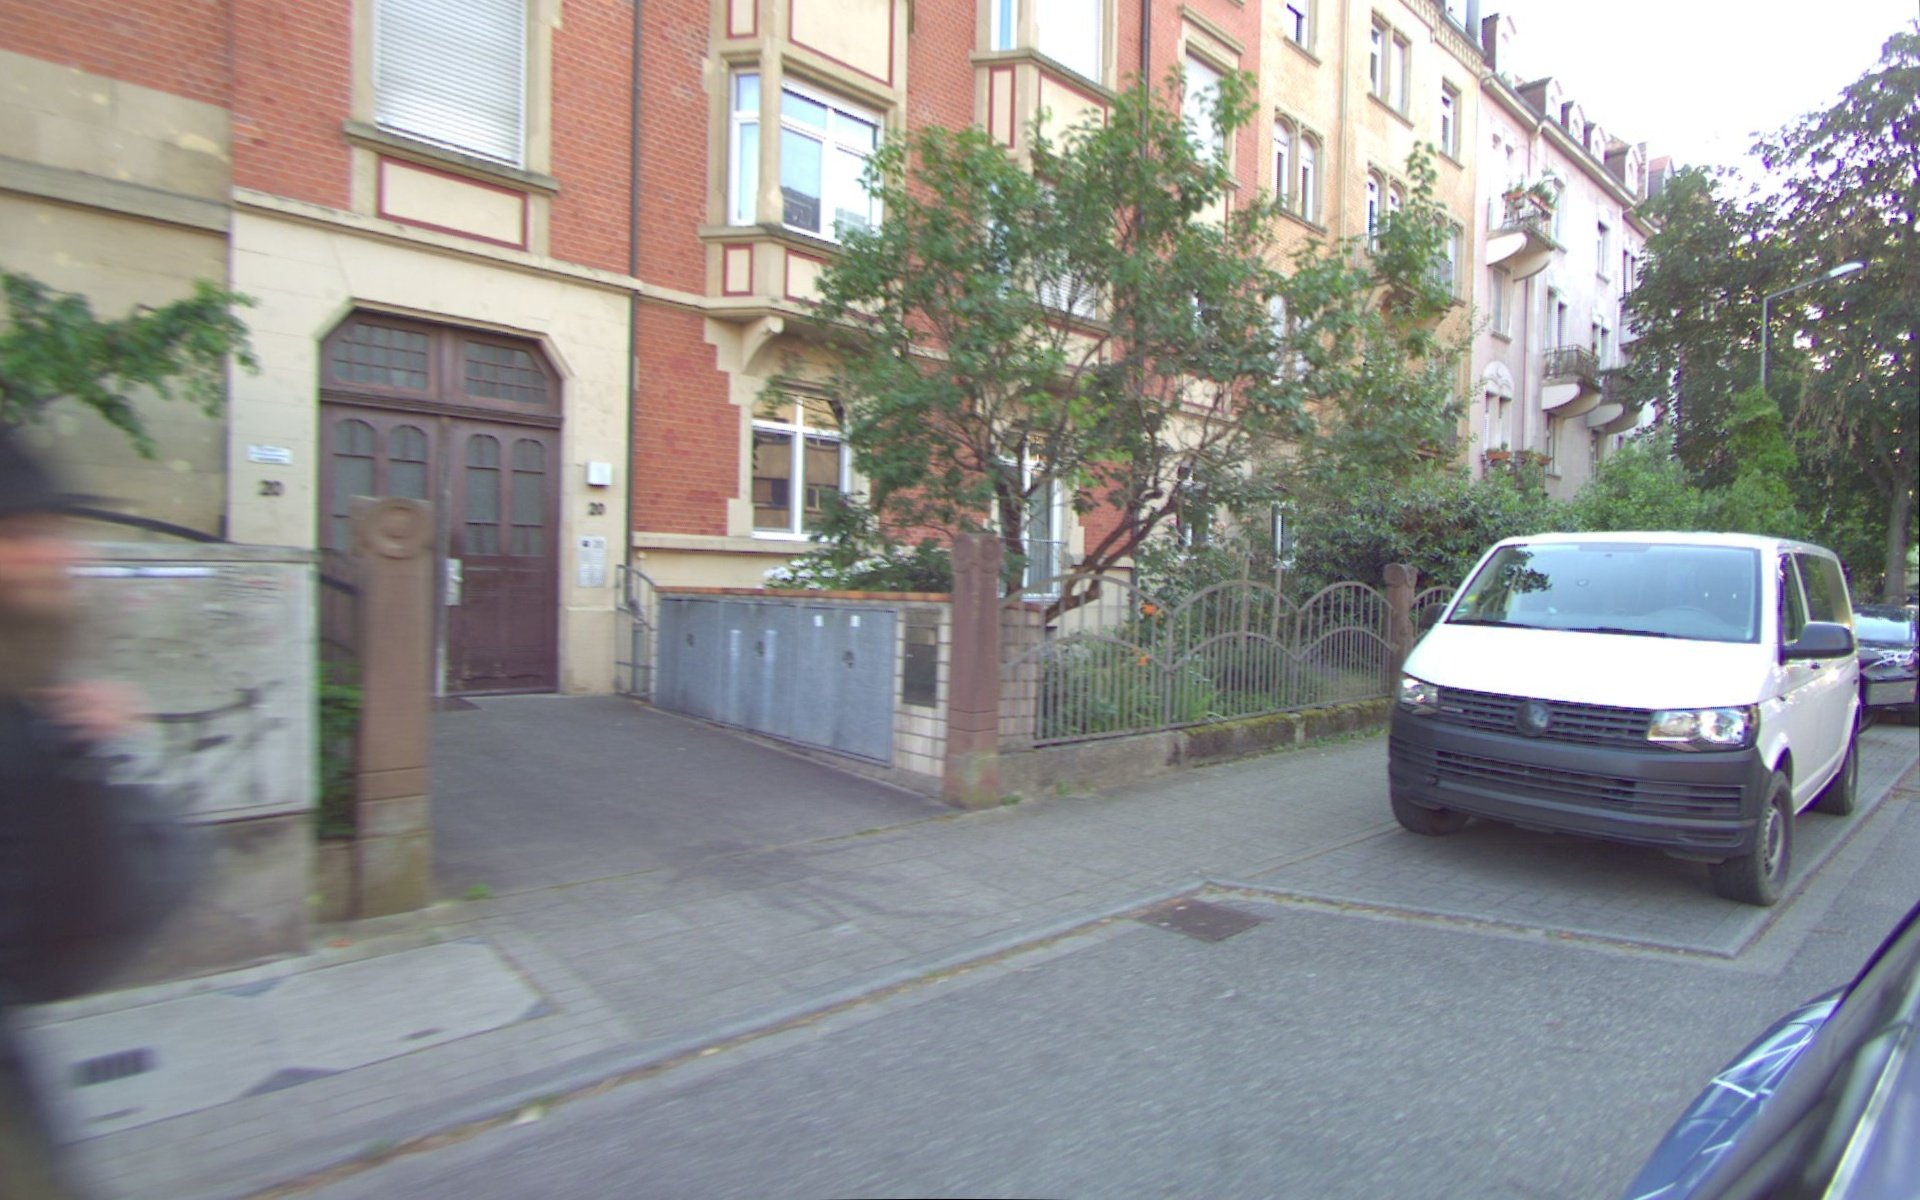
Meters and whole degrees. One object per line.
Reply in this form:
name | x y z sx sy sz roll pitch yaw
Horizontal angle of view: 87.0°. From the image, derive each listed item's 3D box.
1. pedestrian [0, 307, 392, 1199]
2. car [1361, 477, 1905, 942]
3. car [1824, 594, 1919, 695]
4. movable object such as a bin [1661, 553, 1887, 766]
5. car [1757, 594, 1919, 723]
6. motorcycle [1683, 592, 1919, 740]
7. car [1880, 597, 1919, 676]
pedestrian | -1.394 0.545 1.436 0.940 1.744 0.891 0 0 -35
car | 4.979 0.430 7.031 5.451 2.064 1.864 0 3 -43
car | 16.827 0.696 17.766 4.755 1.602 1.760 0 0 -40
movable object such as a bin | 8.452 0.511 10.477 2.285 1.901 1.414 0 3 -42
car | 12.946 0.709 14.361 4.248 1.570 1.723 0 1 -40
motorcycle | 9.897 0.720 11.775 2.065 1.500 1.128 3 2 16
car | 20.168 0.712 20.659 3.538 1.544 1.589 0 0 -40
